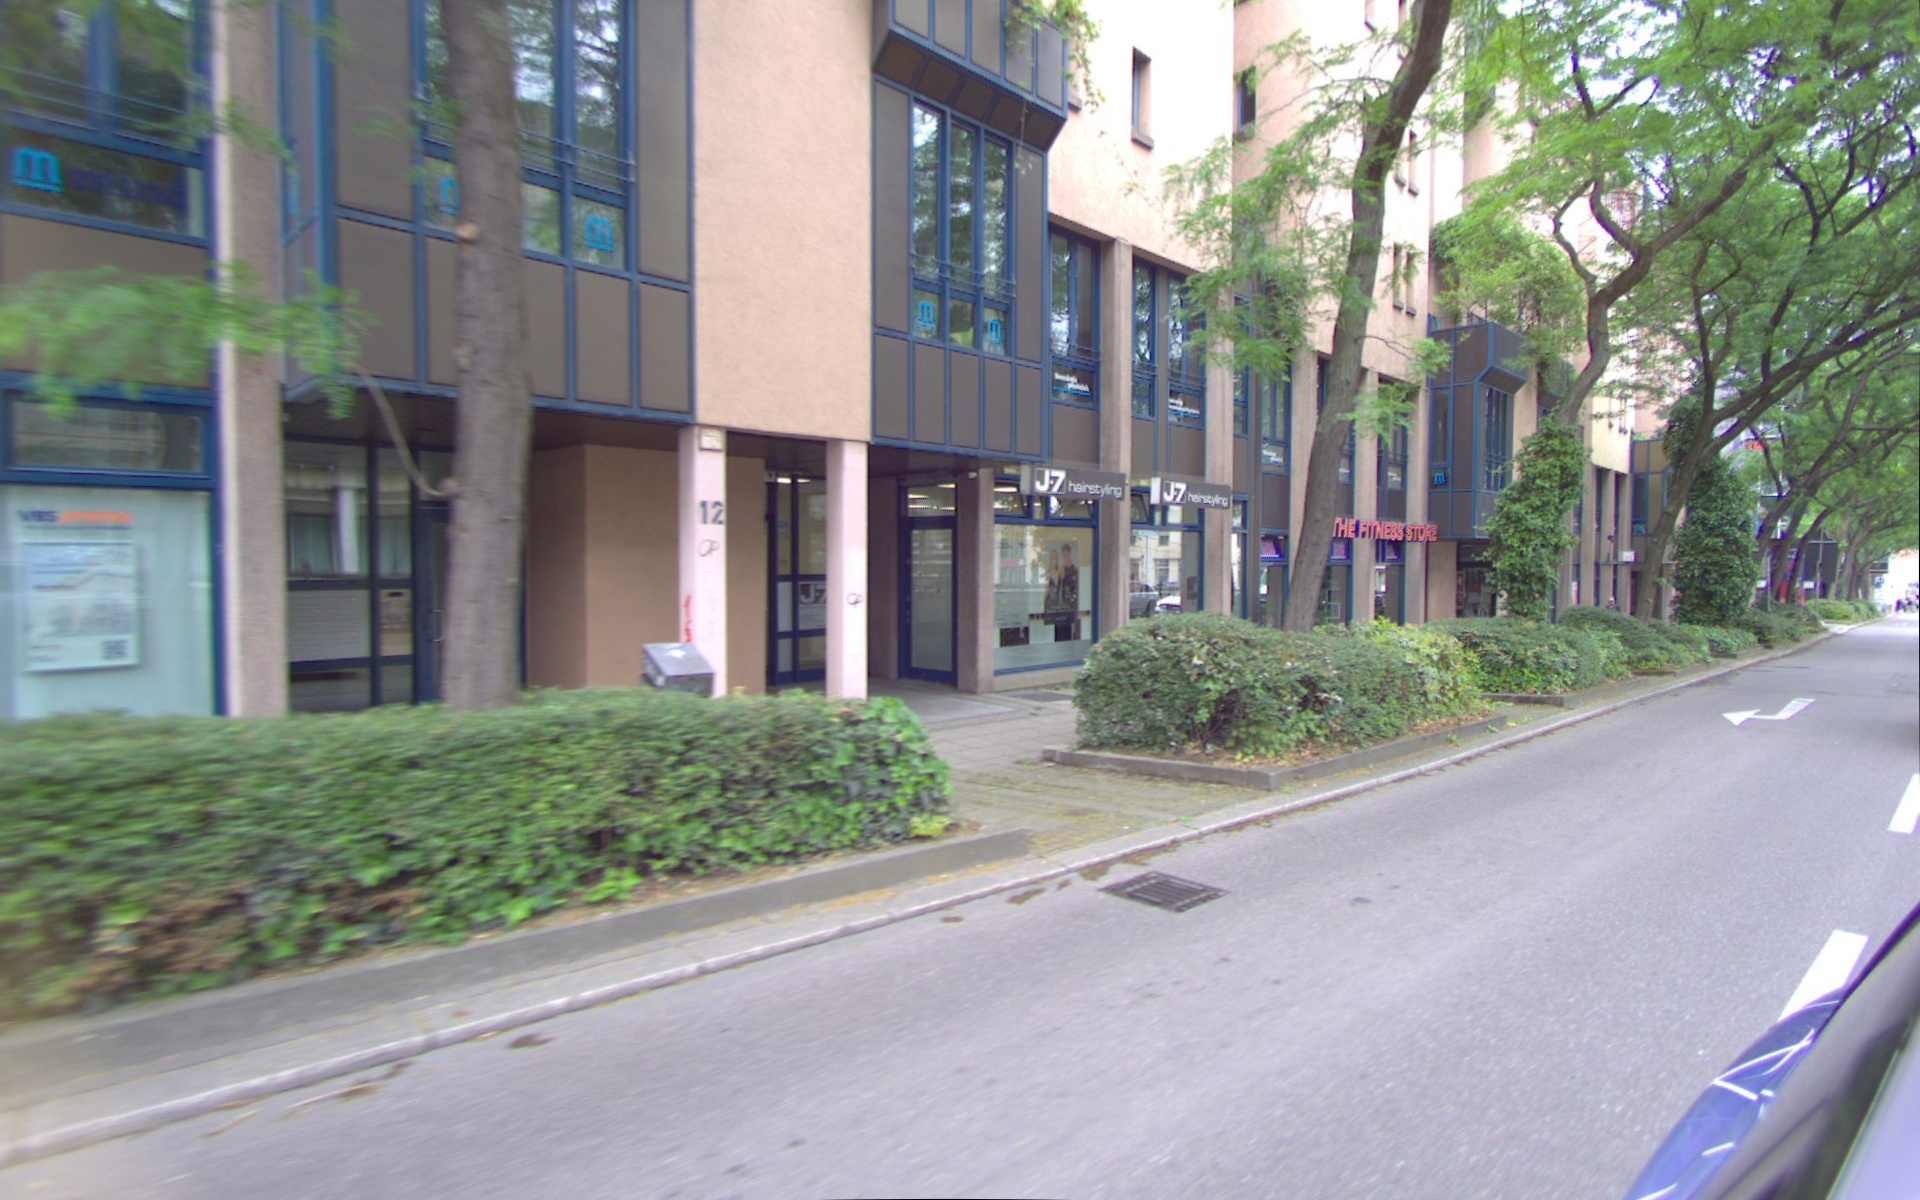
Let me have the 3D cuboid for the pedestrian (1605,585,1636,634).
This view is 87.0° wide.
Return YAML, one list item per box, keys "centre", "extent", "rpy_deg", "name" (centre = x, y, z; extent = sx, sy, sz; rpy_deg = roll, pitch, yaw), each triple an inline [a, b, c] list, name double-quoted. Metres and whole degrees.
- centre: [23.351, 0.329, 35.791]
  extent: [0.675, 1.733, 0.711]
  rpy_deg: [1, 0, -38]
  name: "pedestrian"

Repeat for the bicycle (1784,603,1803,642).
- centre: [27.346, 0.715, 33.208]
  extent: [0.360, 1.216, 1.549]
  rpy_deg: [2, 1, 37]
  name: "bicycle"

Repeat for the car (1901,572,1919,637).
- centre: [35.274, 0.131, 35.475]
  extent: [5.623, 2.184, 2.503]
  rpy_deg: [-1, 0, -38]
  name: "car"
